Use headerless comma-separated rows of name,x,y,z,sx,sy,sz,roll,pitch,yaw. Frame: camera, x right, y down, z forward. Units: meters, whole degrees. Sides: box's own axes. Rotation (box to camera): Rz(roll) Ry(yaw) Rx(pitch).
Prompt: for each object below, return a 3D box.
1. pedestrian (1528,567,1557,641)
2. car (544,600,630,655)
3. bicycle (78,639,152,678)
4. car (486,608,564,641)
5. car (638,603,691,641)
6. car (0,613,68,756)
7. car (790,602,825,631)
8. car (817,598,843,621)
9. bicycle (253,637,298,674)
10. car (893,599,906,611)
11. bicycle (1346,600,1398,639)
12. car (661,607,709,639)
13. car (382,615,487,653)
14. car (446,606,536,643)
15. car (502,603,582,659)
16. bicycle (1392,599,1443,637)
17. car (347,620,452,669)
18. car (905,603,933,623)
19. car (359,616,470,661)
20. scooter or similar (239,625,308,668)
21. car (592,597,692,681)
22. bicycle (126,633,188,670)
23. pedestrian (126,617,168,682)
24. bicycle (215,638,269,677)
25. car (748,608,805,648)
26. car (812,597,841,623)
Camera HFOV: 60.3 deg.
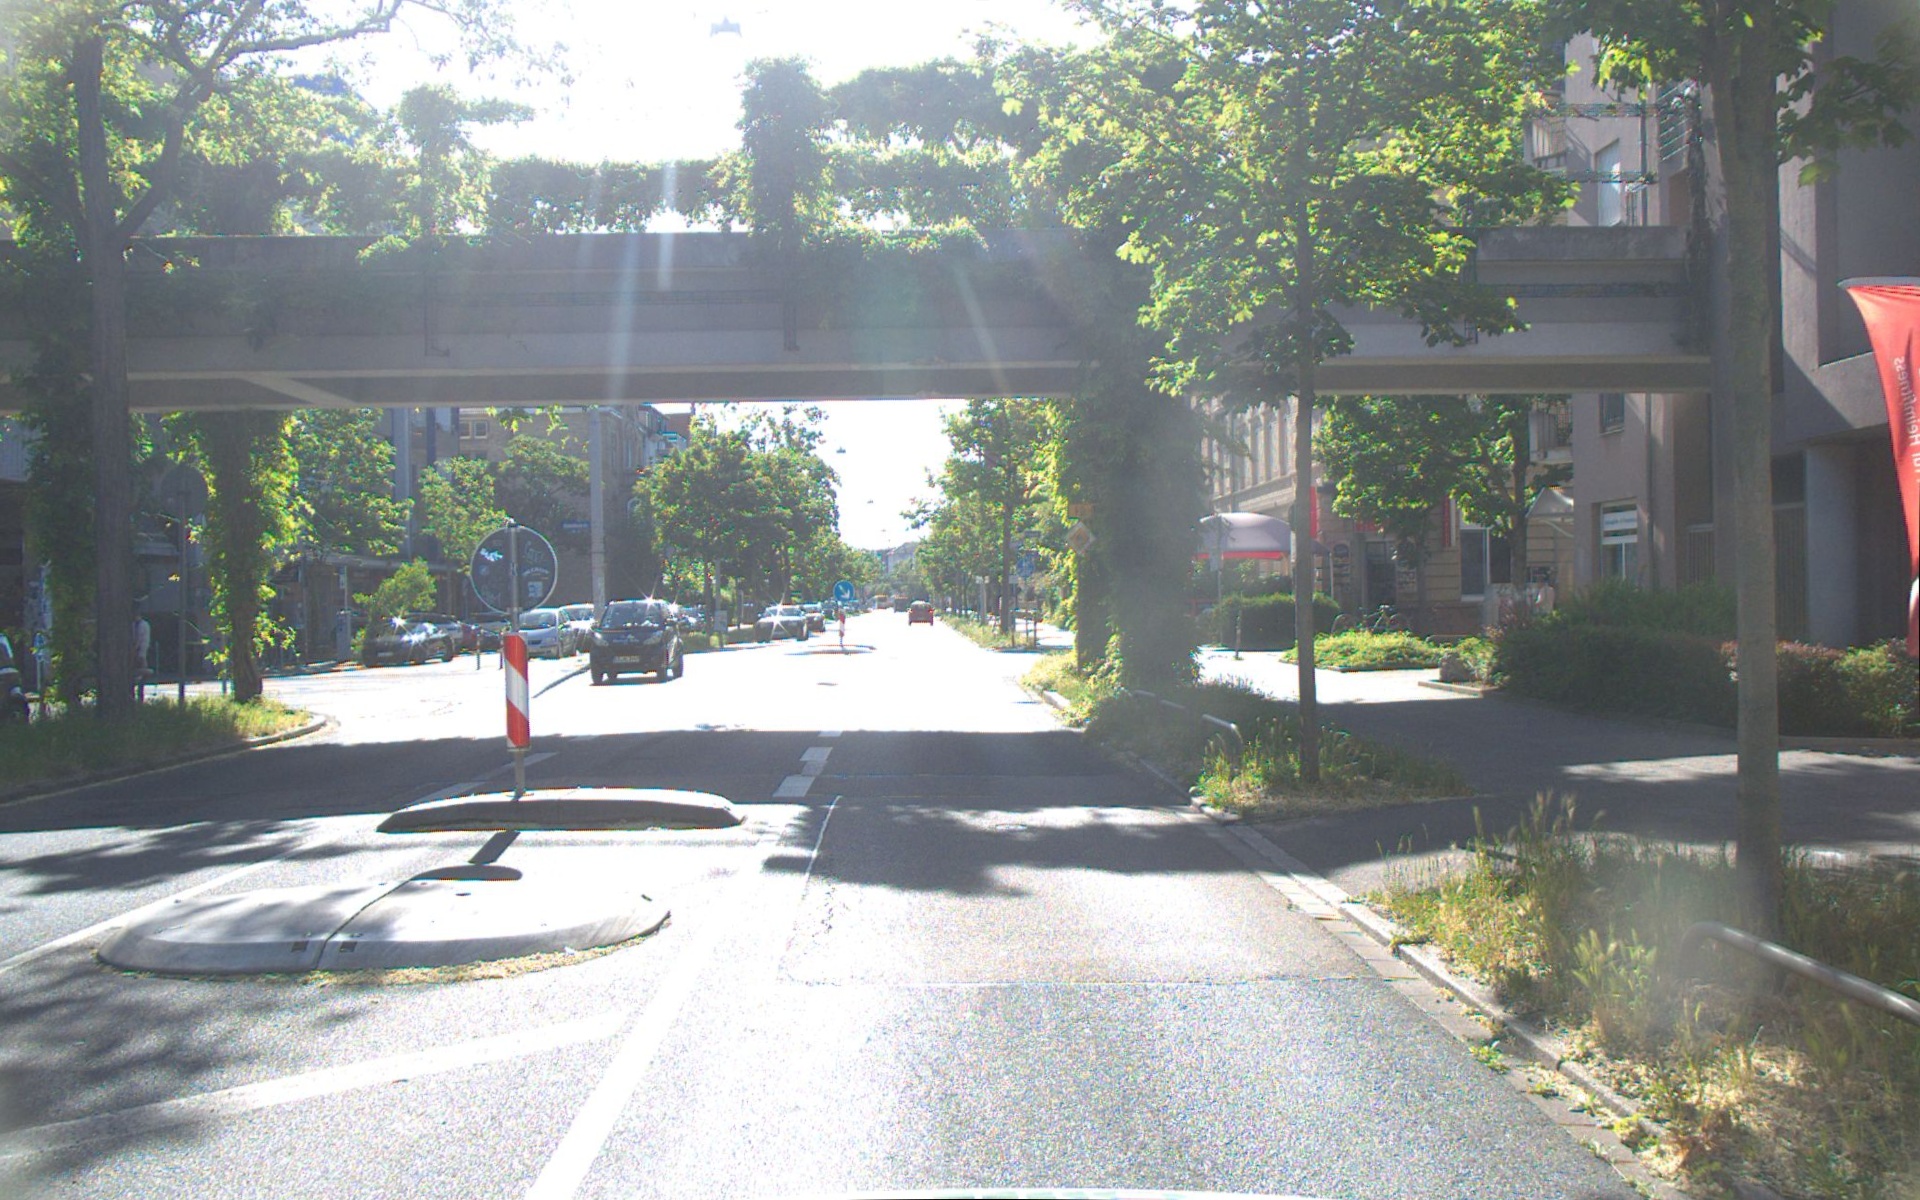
pedestrian,12.814,0.084,36.367,0.519,1.604,0.634,-2,0,23
car,-12.388,0.879,55.194,1.830,1.656,4.504,-2,0,-1
bicycle,-23.805,1.645,46.591,1.763,1.018,0.483,-1,1,-10
car,-24.226,1.356,92.142,3.909,1.658,1.685,-2,0,-5
car,-13.316,0.974,74.708,1.716,1.580,3.998,-2,0,-2
car,-11.462,1.002,17.747,1.705,1.565,3.778,-4,0,-1
car,-8.153,0.879,88.517,1.618,1.453,3.505,-2,0,-2
car,-12.285,0.850,156.728,2.019,2.049,4.629,-2,0,0
bicycle,-20.769,1.681,50.223,0.405,1.018,1.803,1,1,8
car,-8.920,0.739,244.253,1.722,1.815,3.999,-2,0,-1
bicycle,11.016,0.524,44.206,1.286,0.991,0.392,-2,0,-13
car,-13.200,1.080,79.670,1.719,1.422,3.998,-2,0,-2
car,-22.151,1.435,69.775,3.909,1.449,1.685,-2,0,-5
car,-22.708,1.165,80.152,3.909,1.658,1.685,-2,0,-5
car,-12.546,0.890,49.790,1.686,1.545,3.529,-2,0,-4
bicycle,12.508,0.493,45.179,1.286,0.991,0.392,-2,0,-13
car,-18.515,1.432,54.842,1.852,1.422,4.529,-2,0,1
car,-2.686,0.866,109.575,1.761,1.244,3.999,-1,0,-1
car,-22.129,1.548,67.205,3.909,1.635,1.840,-2,0,-5
scooter or similar,-22.062,1.492,53.179,1.929,1.299,0.630,-2,0,-7
car,-6.314,0.743,33.037,1.437,1.554,2.816,-2,0,-1
bicycle,-23.016,1.478,47.409,1.591,1.018,0.412,0,1,-25
pedestrian,-22.136,1.333,45.046,0.740,1.729,0.796,1,-1,-3
bicycle,-20.759,1.650,47.851,0.405,1.049,1.803,1,1,15
car,-7.469,1.117,67.618,1.828,1.484,4.592,-2,0,-1
car,-11.046,0.811,137.150,1.953,2.049,4.205,-2,0,0
